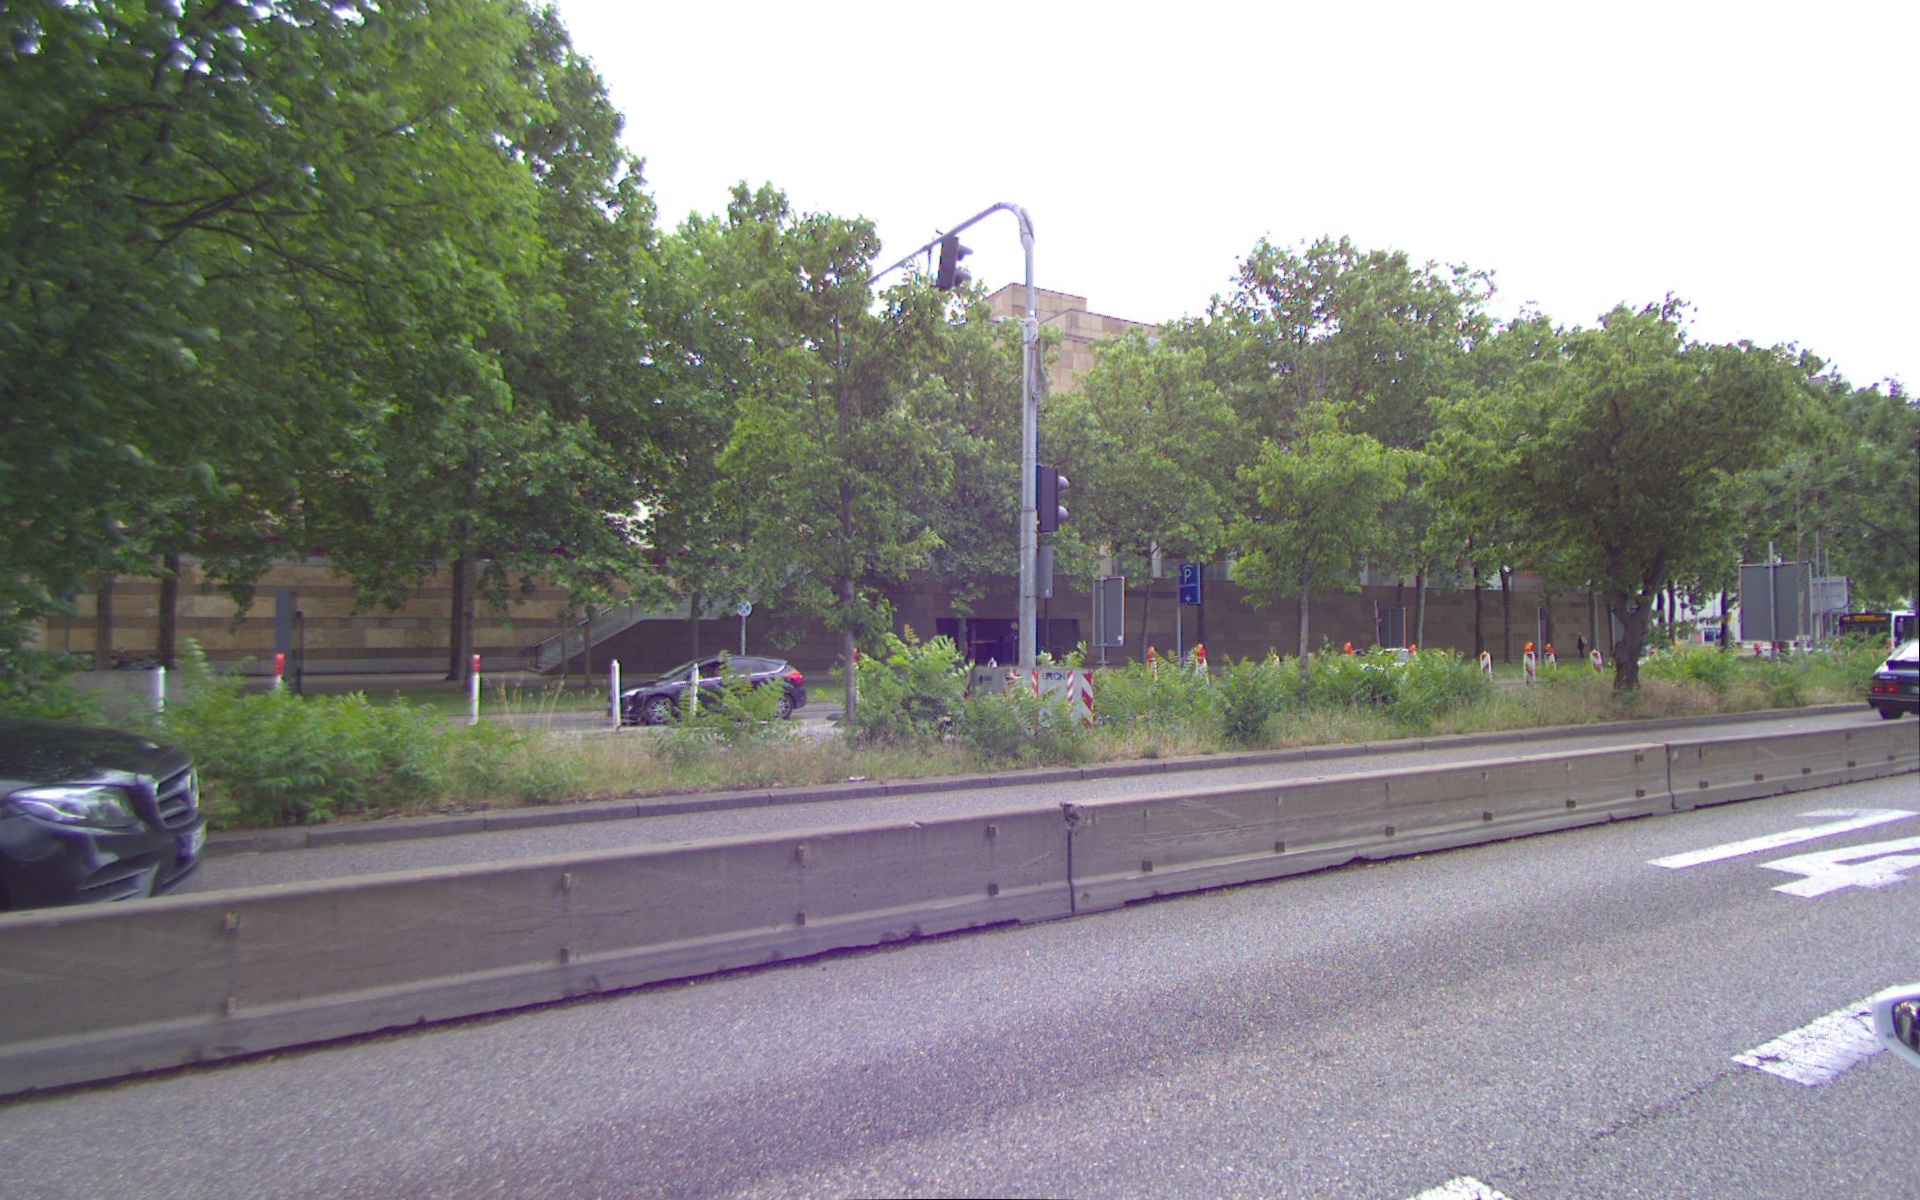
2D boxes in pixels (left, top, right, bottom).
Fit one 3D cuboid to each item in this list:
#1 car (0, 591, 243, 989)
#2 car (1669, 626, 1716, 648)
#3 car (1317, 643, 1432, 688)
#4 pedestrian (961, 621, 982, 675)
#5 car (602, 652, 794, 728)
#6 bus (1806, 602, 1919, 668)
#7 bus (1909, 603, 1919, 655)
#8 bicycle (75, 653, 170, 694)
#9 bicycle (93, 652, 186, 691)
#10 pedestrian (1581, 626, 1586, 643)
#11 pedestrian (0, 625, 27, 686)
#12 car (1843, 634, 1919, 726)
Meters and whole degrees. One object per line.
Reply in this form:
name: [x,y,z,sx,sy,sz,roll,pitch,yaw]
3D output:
car: [-5.660,0.701,3.704,4.714,1.519,1.807,2,-2,-31]
car: [65.462,3.296,89.780,3.953,1.940,1.984,1,-2,-30]
car: [13.898,2.145,33.632,3.759,1.401,1.652,1,-2,-30]
pedestrian: [0.438,1.824,38.224,0.657,2.040,0.449,1,-1,-30]
car: [-5.698,1.900,21.972,3.755,1.461,1.722,1,-2,-31]
bus: [53.661,1.824,57.206,14.099,3.248,3.652,-1,-1,-29]
bus: [65.912,1.859,64.189,14.100,3.247,3.652,1,-2,-29]
bicycle: [-21.861,1.909,26.250,1.820,1.008,0.487,2,0,-25]
bicycle: [-22.005,1.910,26.974,1.820,1.004,0.564,2,0,-25]
pedestrian: [38.247,2.117,61.631,0.212,1.093,0.257,2,0,43]
pedestrian: [-24.967,1.443,26.375,0.616,1.590,0.434,1,-2,-37]
car: [16.512,1.259,16.523,4.490,1.385,1.670,1,-2,-30]
